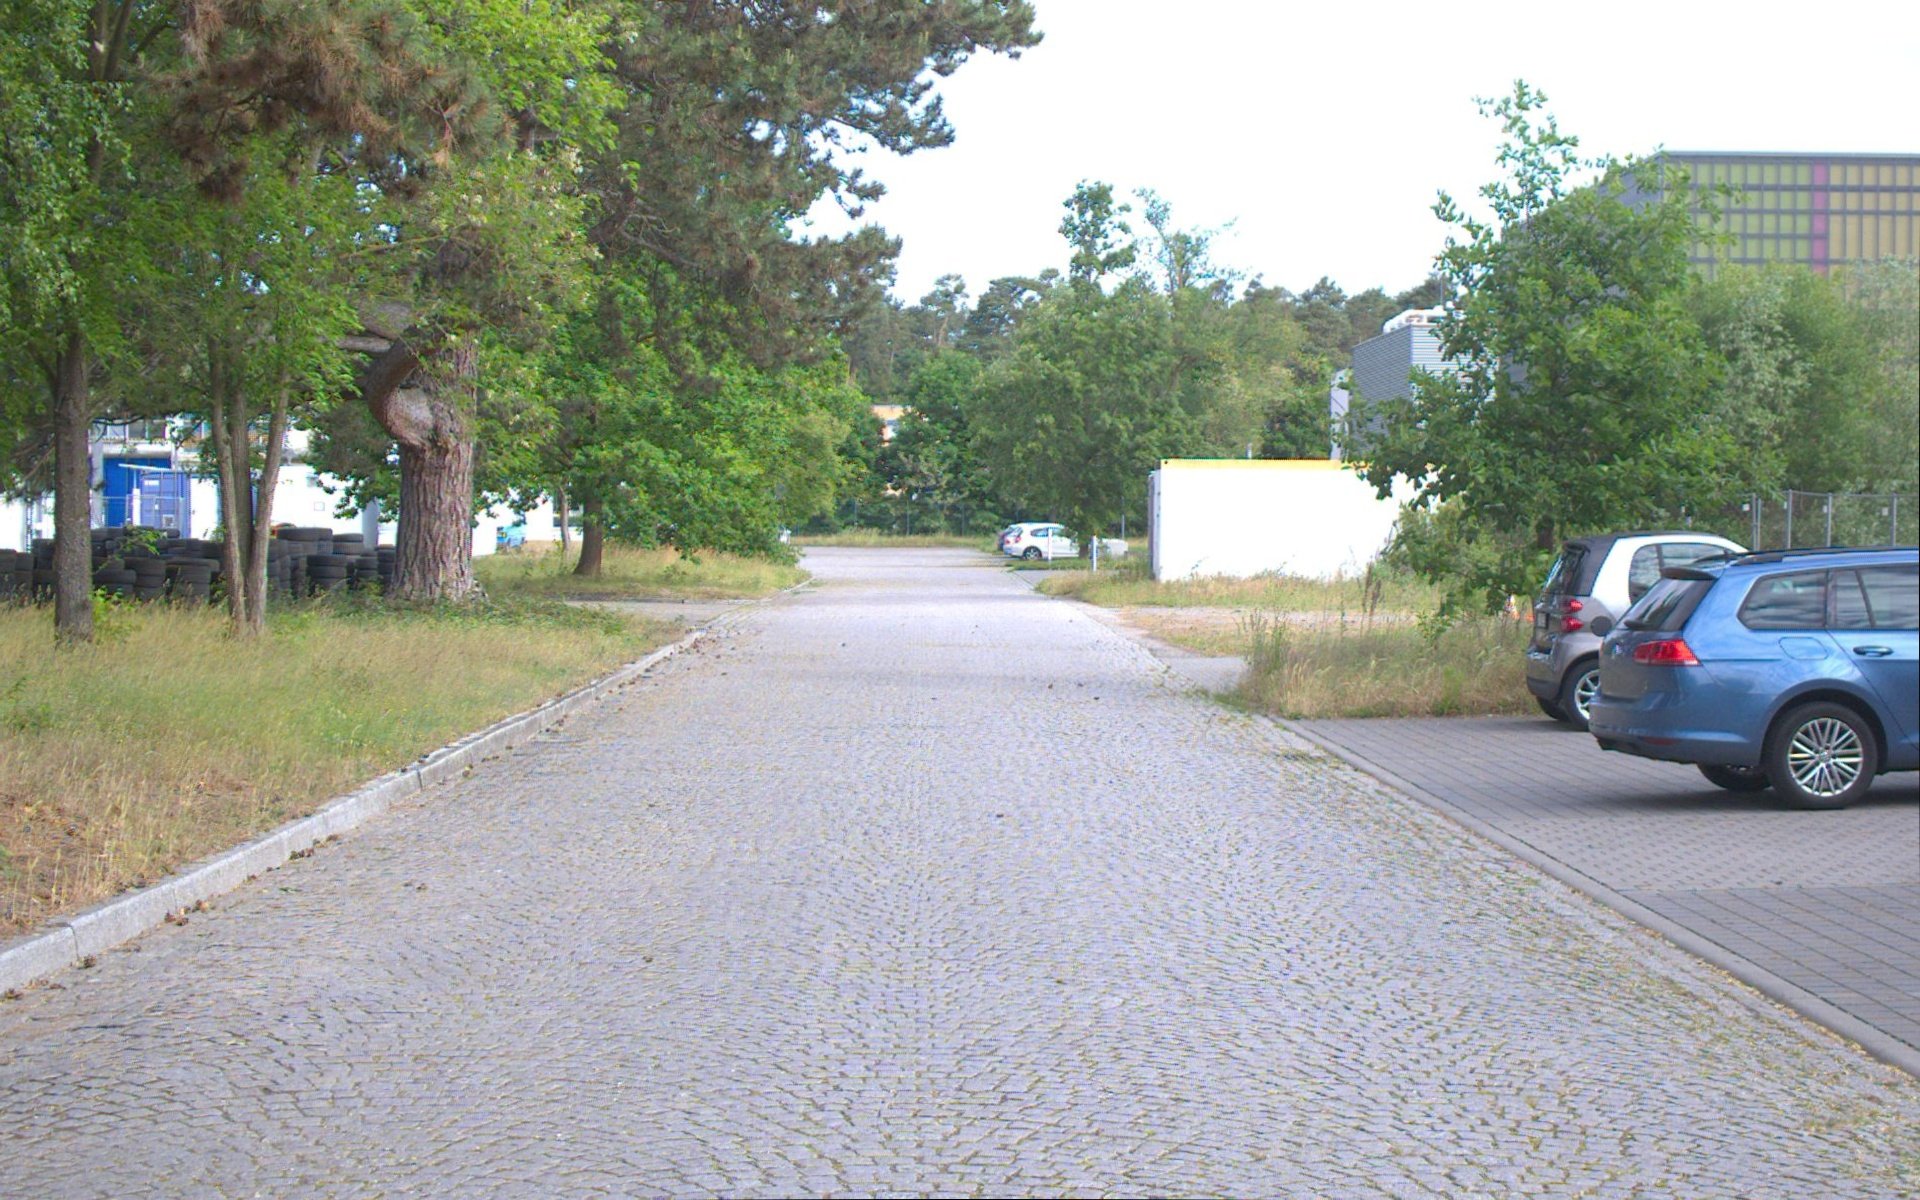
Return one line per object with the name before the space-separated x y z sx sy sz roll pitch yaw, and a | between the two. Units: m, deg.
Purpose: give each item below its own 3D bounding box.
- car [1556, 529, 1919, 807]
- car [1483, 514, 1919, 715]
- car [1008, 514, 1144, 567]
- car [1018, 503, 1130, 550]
car | 6.016 0.346 20.478 4.517 1.526 2.000 -1 2 -3
car | 6.650 0.083 27.844 4.517 1.526 2.000 -1 2 0
car | 3.829 -1.987 114.024 4.354 1.682 1.925 1 1 -1
car | 4.464 -2.887 135.010 4.355 1.774 1.925 1 1 1
